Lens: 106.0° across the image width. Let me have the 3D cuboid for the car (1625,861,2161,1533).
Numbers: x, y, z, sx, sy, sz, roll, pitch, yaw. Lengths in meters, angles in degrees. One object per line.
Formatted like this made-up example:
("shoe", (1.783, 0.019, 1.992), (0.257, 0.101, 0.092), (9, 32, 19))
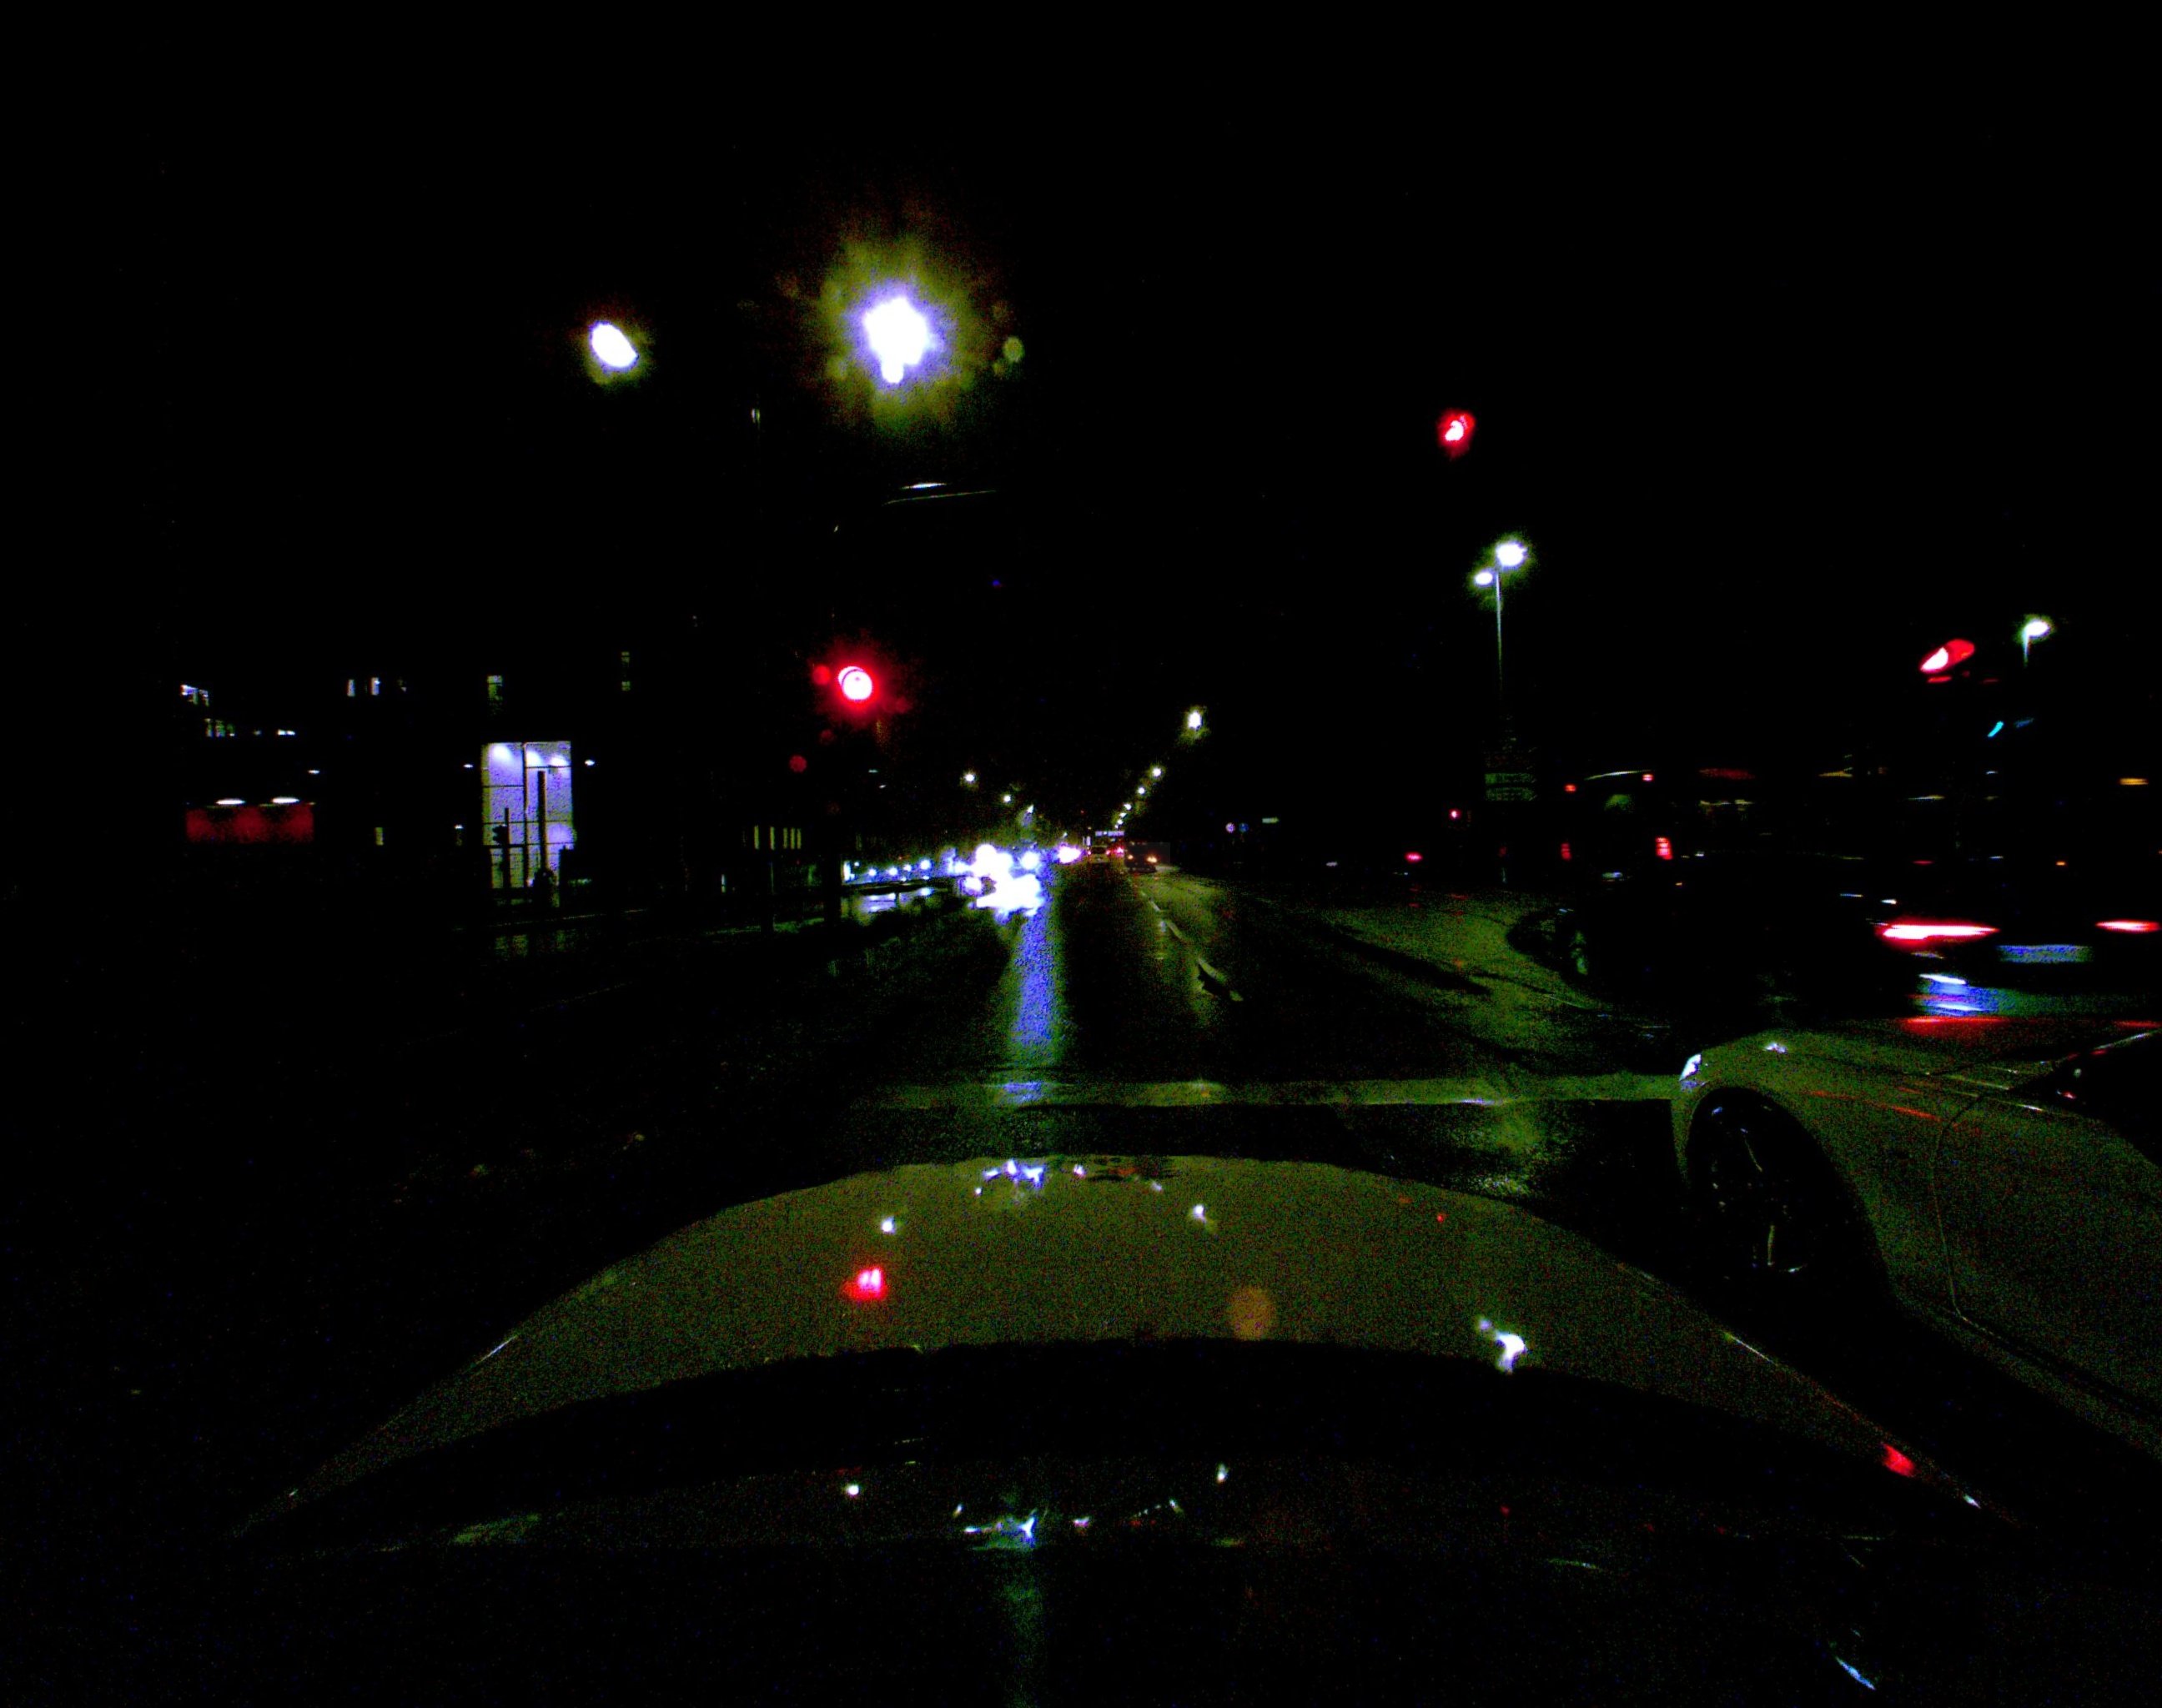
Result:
("car", (3.119, 0.722, 1.294), (1.710, 1.404, 4.351), (0, -1, 2))

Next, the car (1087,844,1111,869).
("car", (1.423, 0.195, 64.176), (1.784, 1.874, 4.628), (0, -1, 1))

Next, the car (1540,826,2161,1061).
("car", (6.350, 0.586, 7.477), (1.830, 1.478, 4.632), (0, -1, 3))

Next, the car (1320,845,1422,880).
("car", (12.989, 0.378, 36.500), (4.102, 1.487, 1.807), (-1, -1, 25))

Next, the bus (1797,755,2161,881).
("bus", (25.113, -0.945, 21.926), (9.710, 3.123, 2.774), (-1, 0, -4))

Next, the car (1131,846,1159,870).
("car", (4.633, 0.328, 59.456), (1.784, 1.679, 4.429), (0, -1, 1))

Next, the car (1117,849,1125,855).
("car", (10.849, -0.562, 220.815), (1.986, 1.759, 4.001), (0, -1, 2))

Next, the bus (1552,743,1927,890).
("bus", (16.576, -0.848, 20.385), (9.764, 3.123, 2.759), (-1, 0, -21))
